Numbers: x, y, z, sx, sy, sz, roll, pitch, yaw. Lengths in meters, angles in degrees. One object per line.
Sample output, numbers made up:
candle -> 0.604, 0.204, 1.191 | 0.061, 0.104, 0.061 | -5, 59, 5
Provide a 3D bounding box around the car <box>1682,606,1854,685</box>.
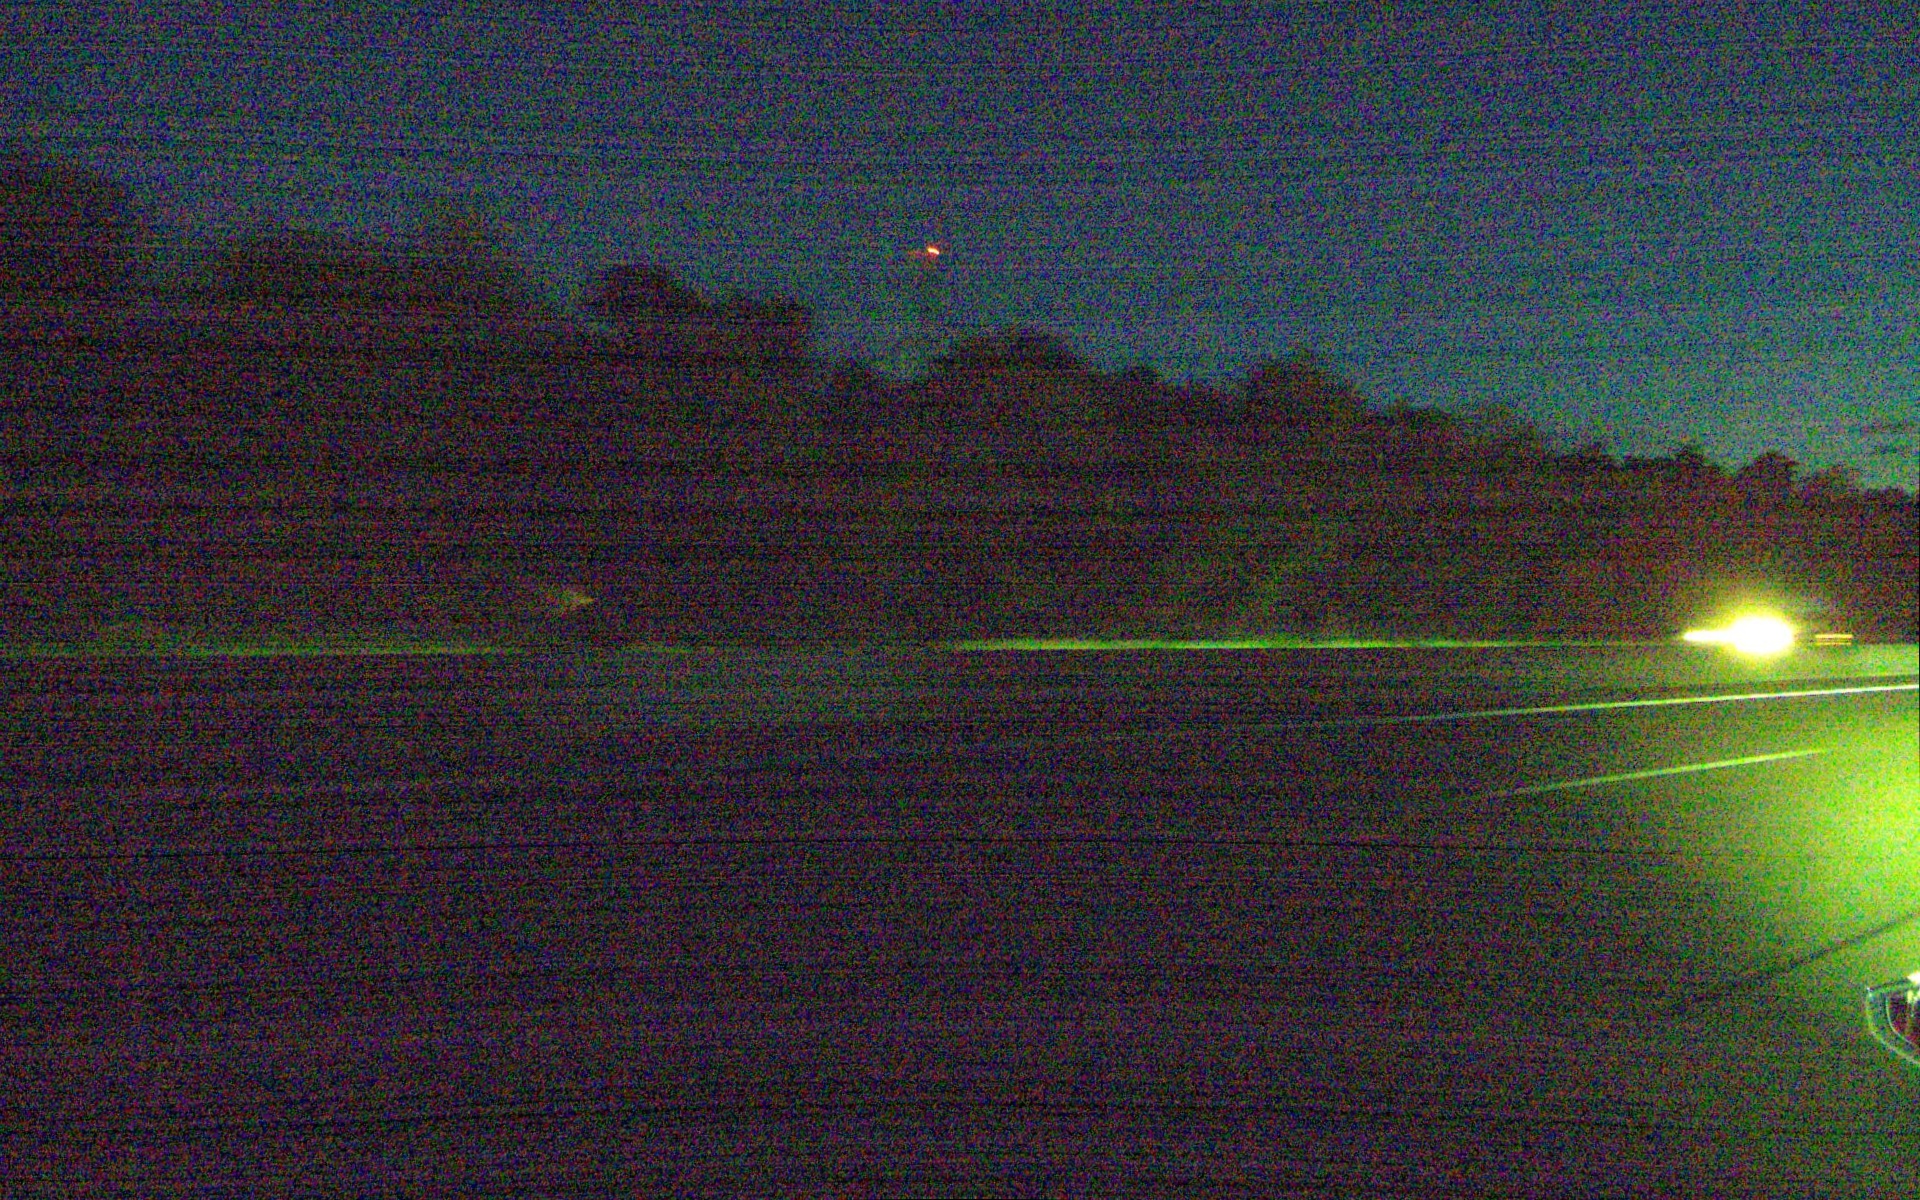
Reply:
car -> 32.383, 1.756, 40.163 | 7.628, 2.895, 2.939 | 1, -1, -31
